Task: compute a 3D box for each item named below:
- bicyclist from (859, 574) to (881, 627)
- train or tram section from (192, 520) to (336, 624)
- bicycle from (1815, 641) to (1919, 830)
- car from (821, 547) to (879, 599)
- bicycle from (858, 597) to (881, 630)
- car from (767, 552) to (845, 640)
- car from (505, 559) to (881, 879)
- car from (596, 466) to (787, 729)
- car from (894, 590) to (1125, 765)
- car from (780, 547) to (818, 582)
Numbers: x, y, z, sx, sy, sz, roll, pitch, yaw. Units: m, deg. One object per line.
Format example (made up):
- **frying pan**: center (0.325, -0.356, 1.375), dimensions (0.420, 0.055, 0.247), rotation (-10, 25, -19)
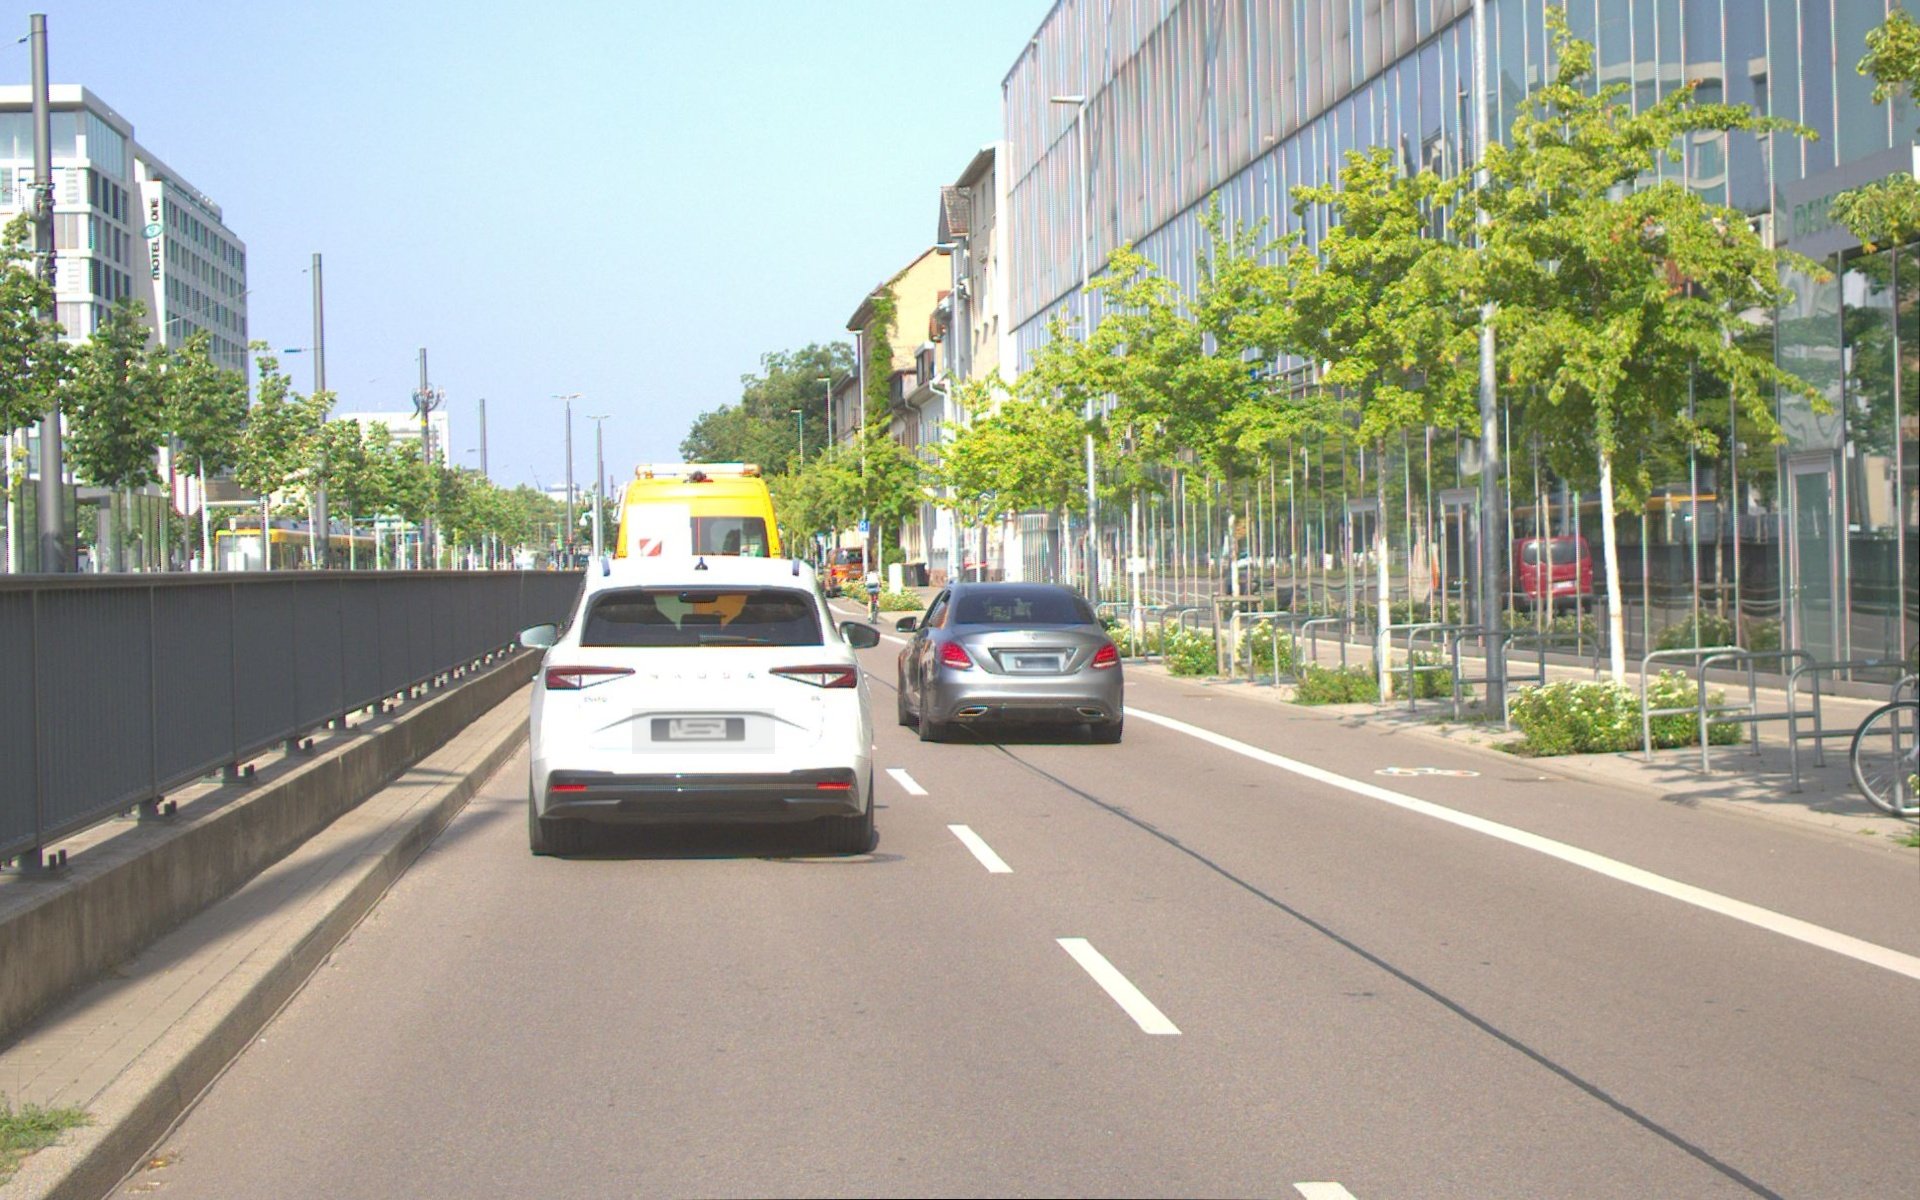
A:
- **bicyclist**: center (-2.699, 0.009, 103.099), dimensions (0.639, 1.571, 0.771), rotation (-1, 1, -2)
- **train or tram section**: center (-26.391, -1.061, 131.284), dimensions (2.905, 3.663, 18.139), rotation (1, 0, -4)
- **bicycle**: center (6.198, 0.803, 20.880), dimensions (1.878, 1.105, 0.490), rotation (-1, 1, -2)
- **car**: center (-4.497, -1.107, 139.615), dimensions (2.063, 2.007, 4.589), rotation (-1, 1, -5)
- **bicycle**: center (-2.723, 0.399, 103.188), dimensions (0.655, 0.935, 1.517), rotation (-1, 1, -2)
- **car**: center (-3.638, -0.112, 81.274), dimensions (1.788, 2.007, 4.000), rotation (1, 0, -3)
- **car**: center (-1.497, 0.577, 19.386), dimensions (1.869, 1.569, 4.001), rotation (-1, 1, -4)
- **car**: center (-3.121, -0.131, 40.046), dimensions (2.020, 2.786, 5.402), rotation (-1, 3, -4)
- **car**: center (0.386, 0.659, 31.483), dimensions (1.760, 1.431, 4.116), rotation (1, 1, -4)
- **car**: center (-8.590, -1.897, 183.025), dimensions (1.812, 1.806, 3.836), rotation (-1, 1, -5)
